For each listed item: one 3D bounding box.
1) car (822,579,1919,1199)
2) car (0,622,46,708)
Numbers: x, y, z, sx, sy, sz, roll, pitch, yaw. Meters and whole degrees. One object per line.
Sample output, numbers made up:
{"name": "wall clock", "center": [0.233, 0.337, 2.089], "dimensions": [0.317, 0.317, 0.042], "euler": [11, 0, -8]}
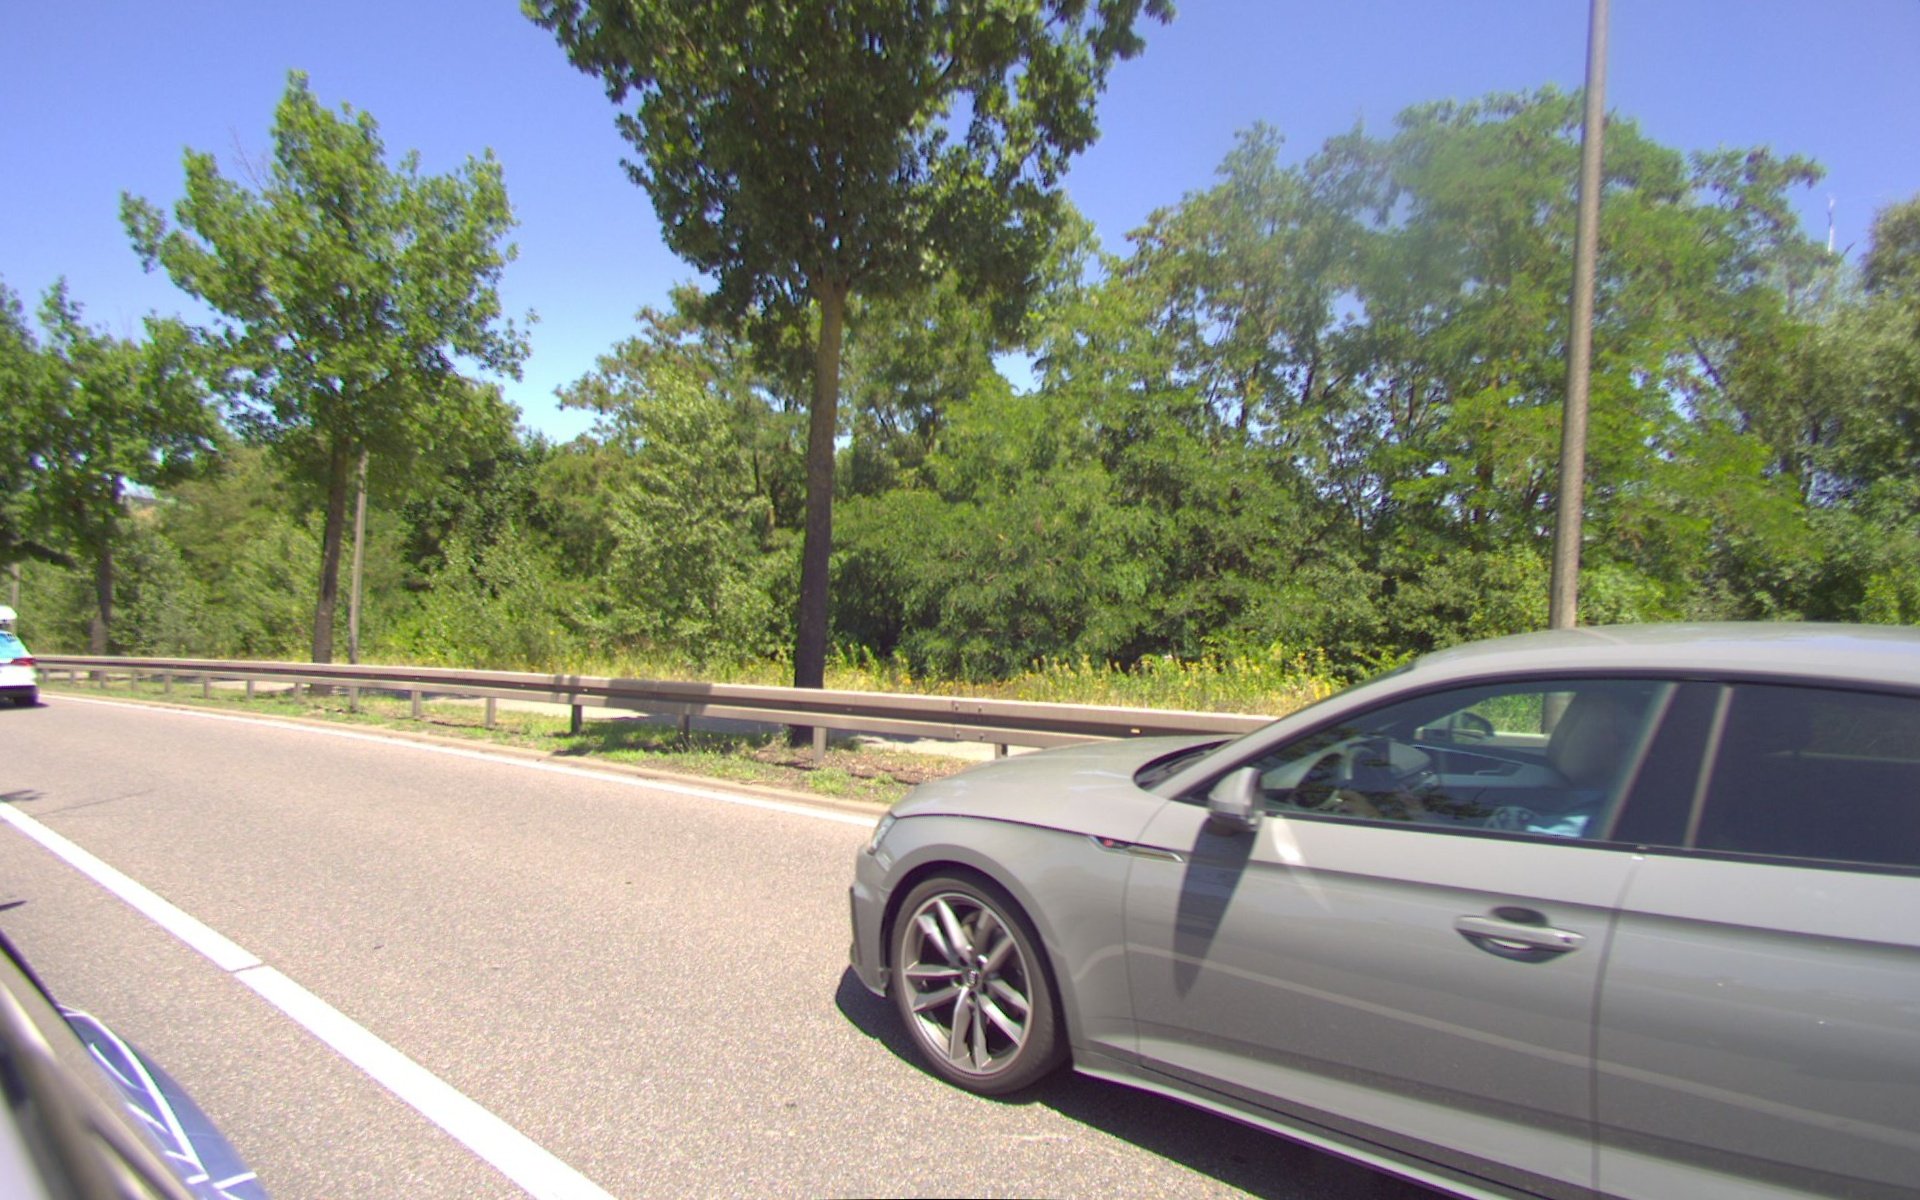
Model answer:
{"name": "car", "center": [1.785, 0.670, 2.477], "dimensions": [4.403, 1.406, 1.741], "euler": [-1, 0, 41]}
{"name": "car", "center": [-17.989, 1.127, 17.930], "dimensions": [4.457, 1.432, 1.803], "euler": [-1, 0, 36]}
